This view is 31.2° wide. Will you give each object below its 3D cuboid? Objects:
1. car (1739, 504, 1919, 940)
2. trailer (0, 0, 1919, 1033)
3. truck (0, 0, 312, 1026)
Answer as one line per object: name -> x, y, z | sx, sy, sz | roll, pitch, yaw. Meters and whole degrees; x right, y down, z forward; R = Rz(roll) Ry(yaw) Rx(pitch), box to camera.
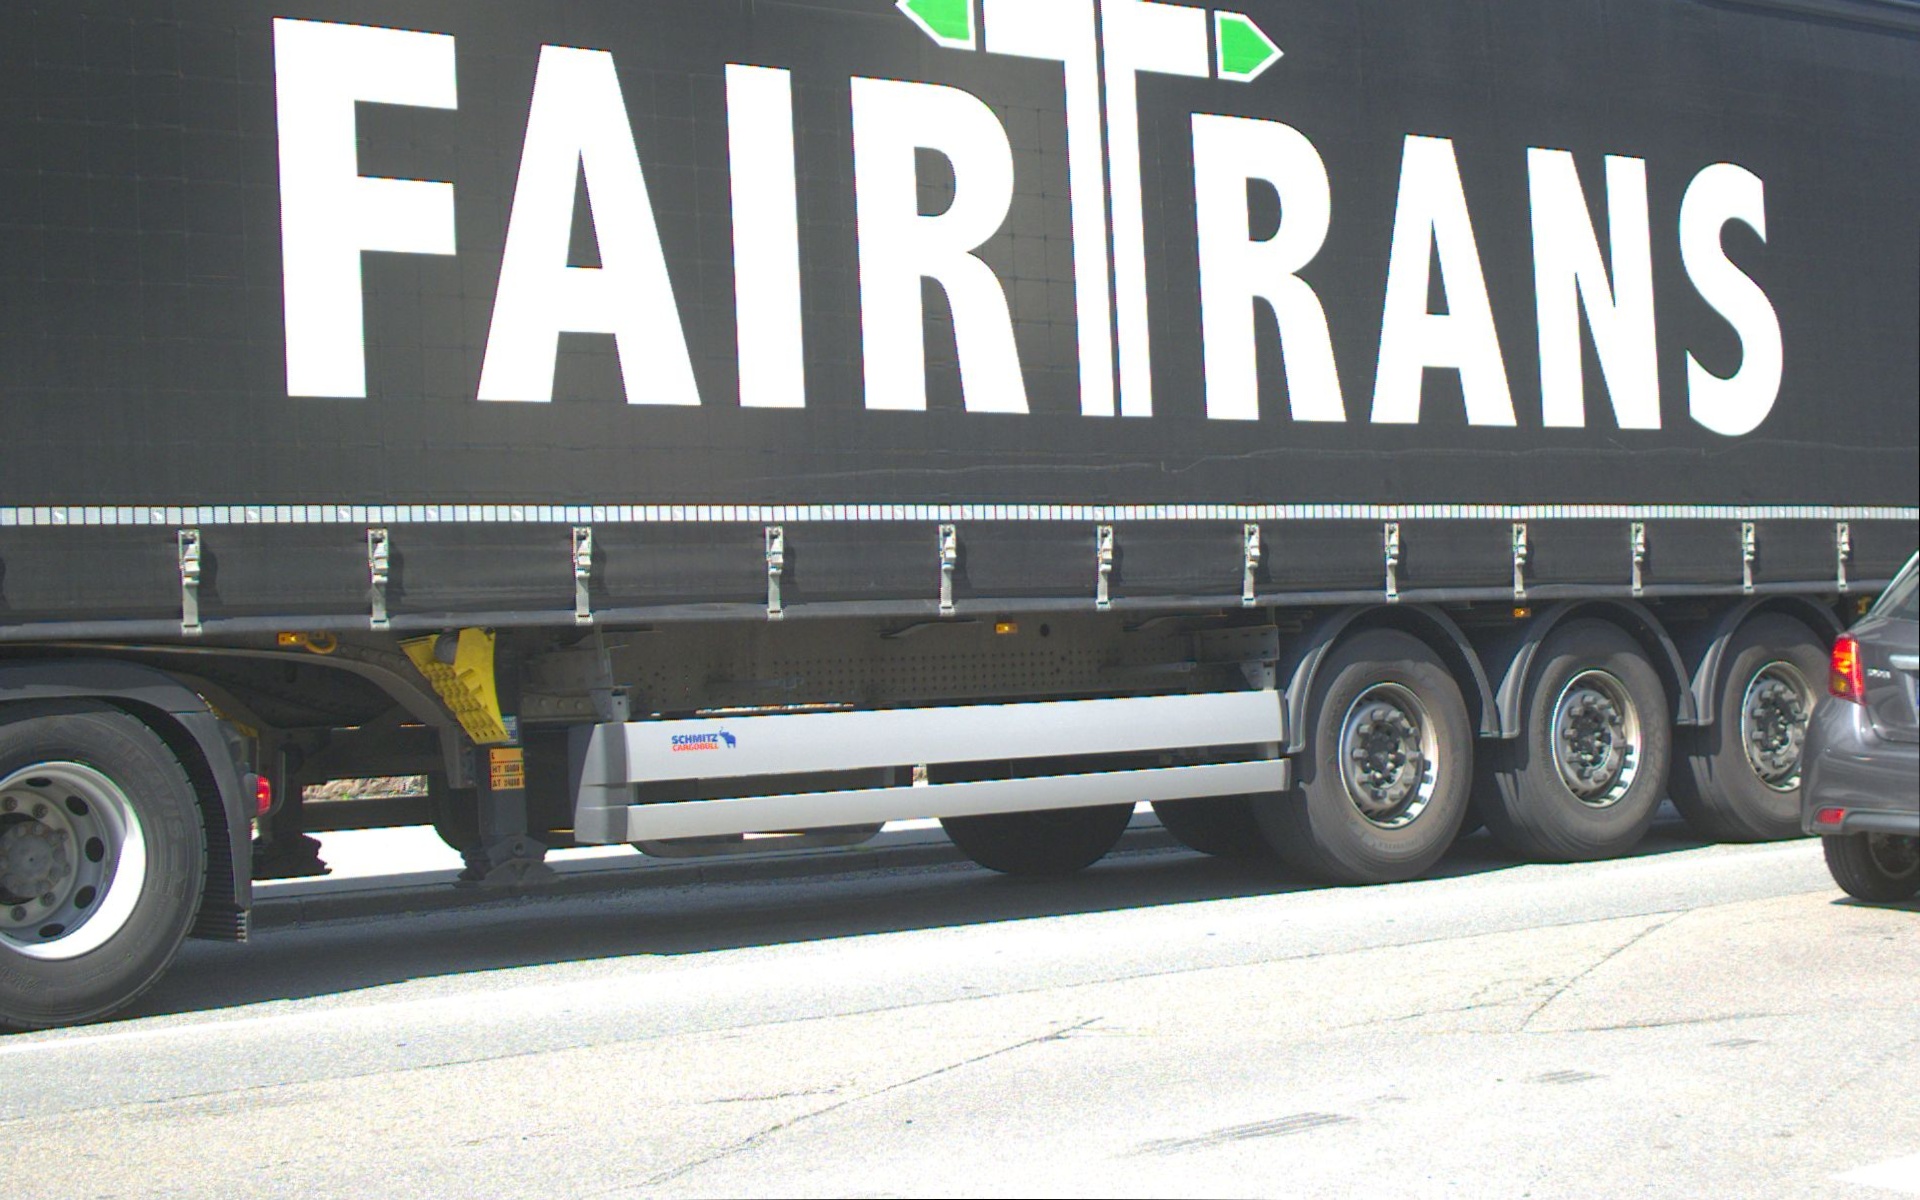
car -> 4.813, 0.379, 12.937 | 3.870, 1.493, 1.727 | -2, 1, -42
trailer -> -0.084, -0.863, 14.205 | 13.732, 4.090, 2.841 | -2, -1, -40
truck -> -5.256, -0.696, 9.856 | 5.915, 4.057, 2.838 | -2, -1, -40
